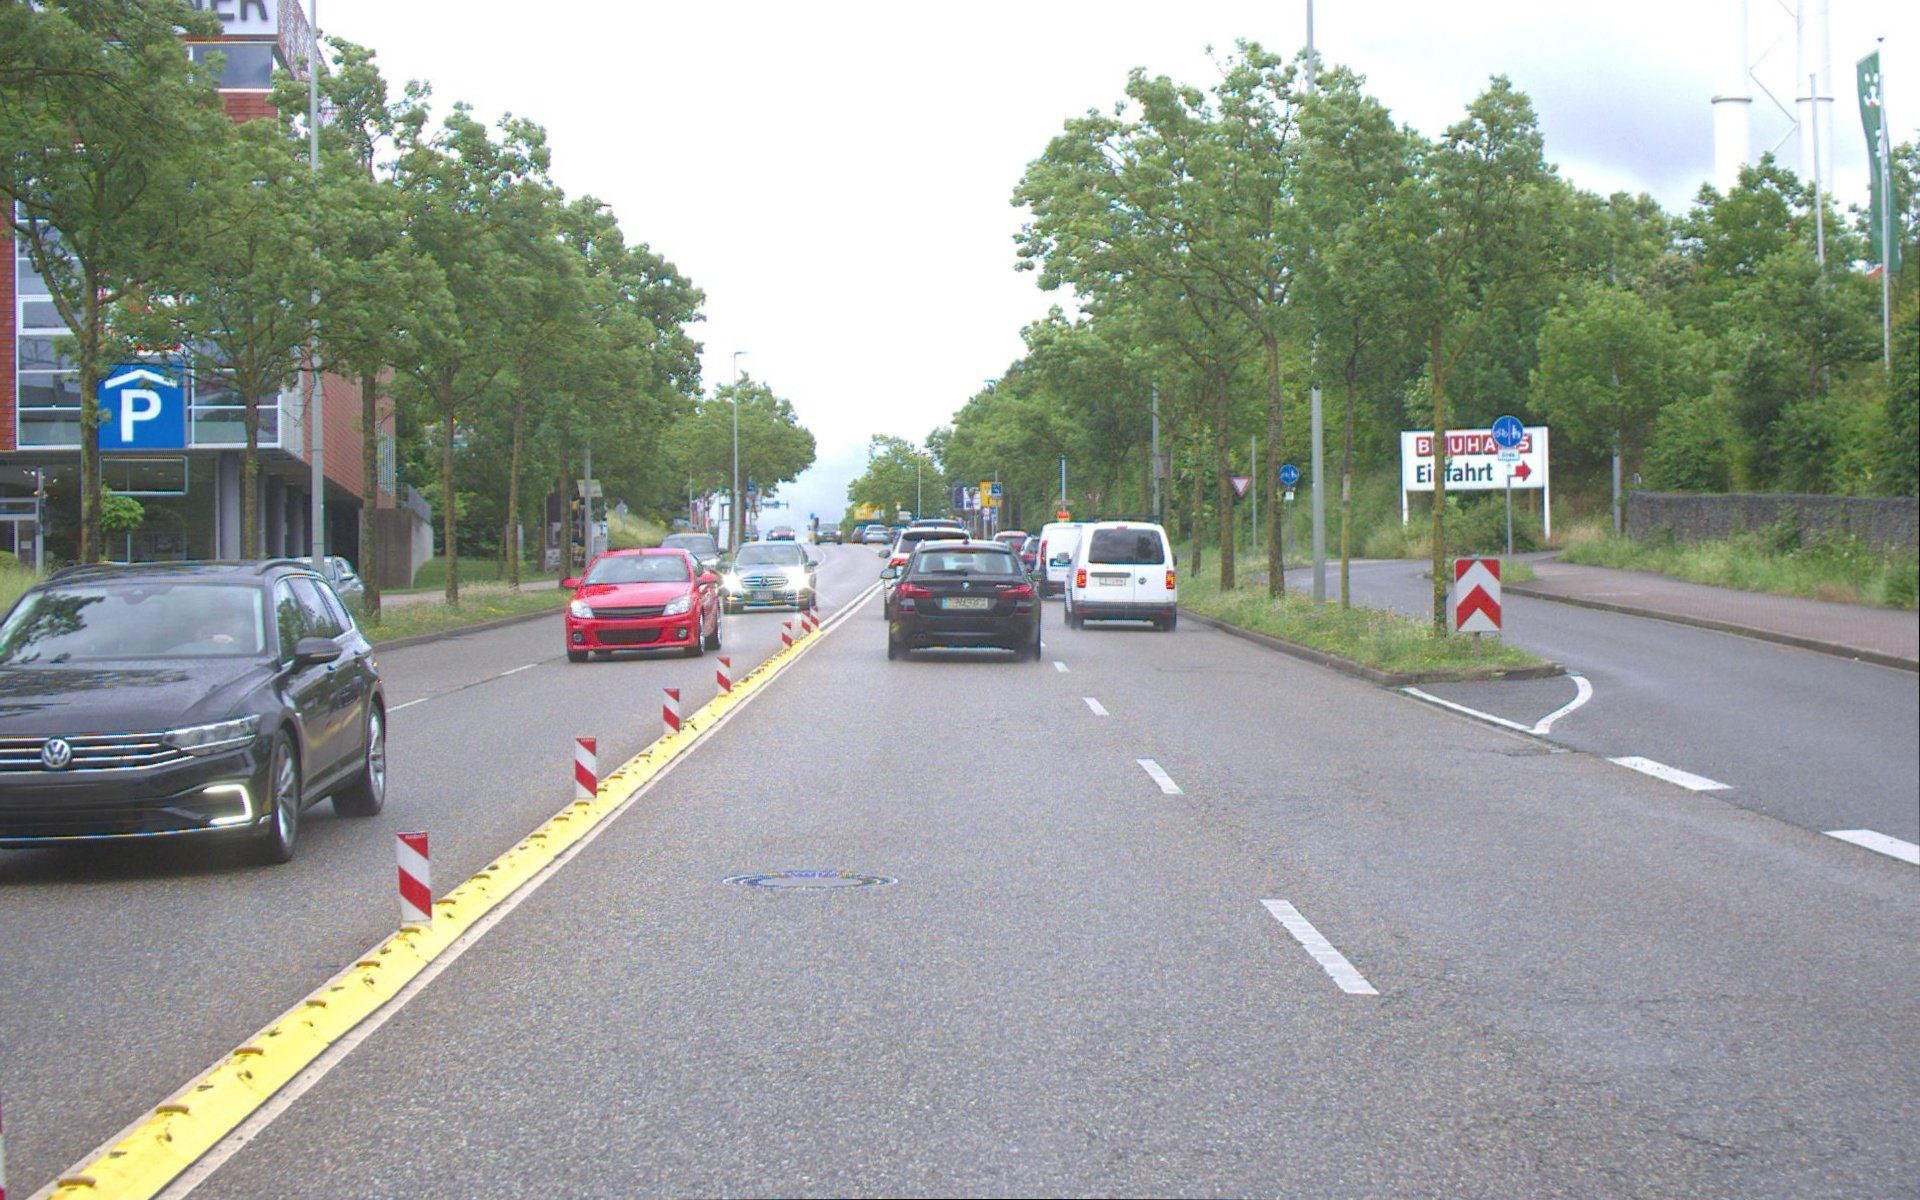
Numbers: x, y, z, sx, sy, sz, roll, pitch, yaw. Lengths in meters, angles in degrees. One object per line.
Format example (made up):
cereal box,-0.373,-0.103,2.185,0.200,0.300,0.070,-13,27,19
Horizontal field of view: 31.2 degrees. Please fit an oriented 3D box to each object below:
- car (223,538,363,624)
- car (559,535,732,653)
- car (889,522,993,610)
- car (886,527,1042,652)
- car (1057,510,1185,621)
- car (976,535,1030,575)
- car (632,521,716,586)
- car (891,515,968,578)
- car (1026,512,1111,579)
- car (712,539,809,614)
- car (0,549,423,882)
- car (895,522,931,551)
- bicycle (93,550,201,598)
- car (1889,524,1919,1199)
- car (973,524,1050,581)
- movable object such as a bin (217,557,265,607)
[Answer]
car,-13.136,-0.399,67.934,1.867,1.547,4.576,-3,1,-1
car,-4.045,-0.114,44.786,1.762,1.420,4.180,-1,1,1
car,-0.354,-0.620,62.446,1.794,1.505,4.000,2,0,-1
car,0.053,-0.162,42.467,1.827,1.463,4.000,0,1,0
car,2.658,-0.602,57.629,1.827,1.753,4.000,1,1,-1
car,1.681,-1.756,134.791,1.794,1.505,4.001,1,0,-4
car,-7.546,-1.229,91.071,1.787,1.608,4.437,-2,1,0
car,-0.784,-1.326,85.895,1.794,1.505,4.000,1,0,-2
car,2.545,-1.283,81.364,1.794,1.505,4.000,2,0,-1
car,-4.066,-0.489,70.532,1.667,1.405,4.378,-2,1,0
car,-4.091,0.498,17.852,1.827,1.461,4.616,-2,1,0
car,-2.532,-3.407,185.096,1.794,1.505,4.000,1,0,-2
bicycle,-18.270,-0.579,77.268,2.077,0.932,1.093,4,1,4
car,2.946,0.667,5.447,1.685,1.575,4.219,0,1,-2
car,1.396,-1.297,95.210,1.794,1.505,4.001,1,0,-4
movable object such as a bin,-16.344,-0.415,78.195,0.819,1.075,1.086,3,1,0
